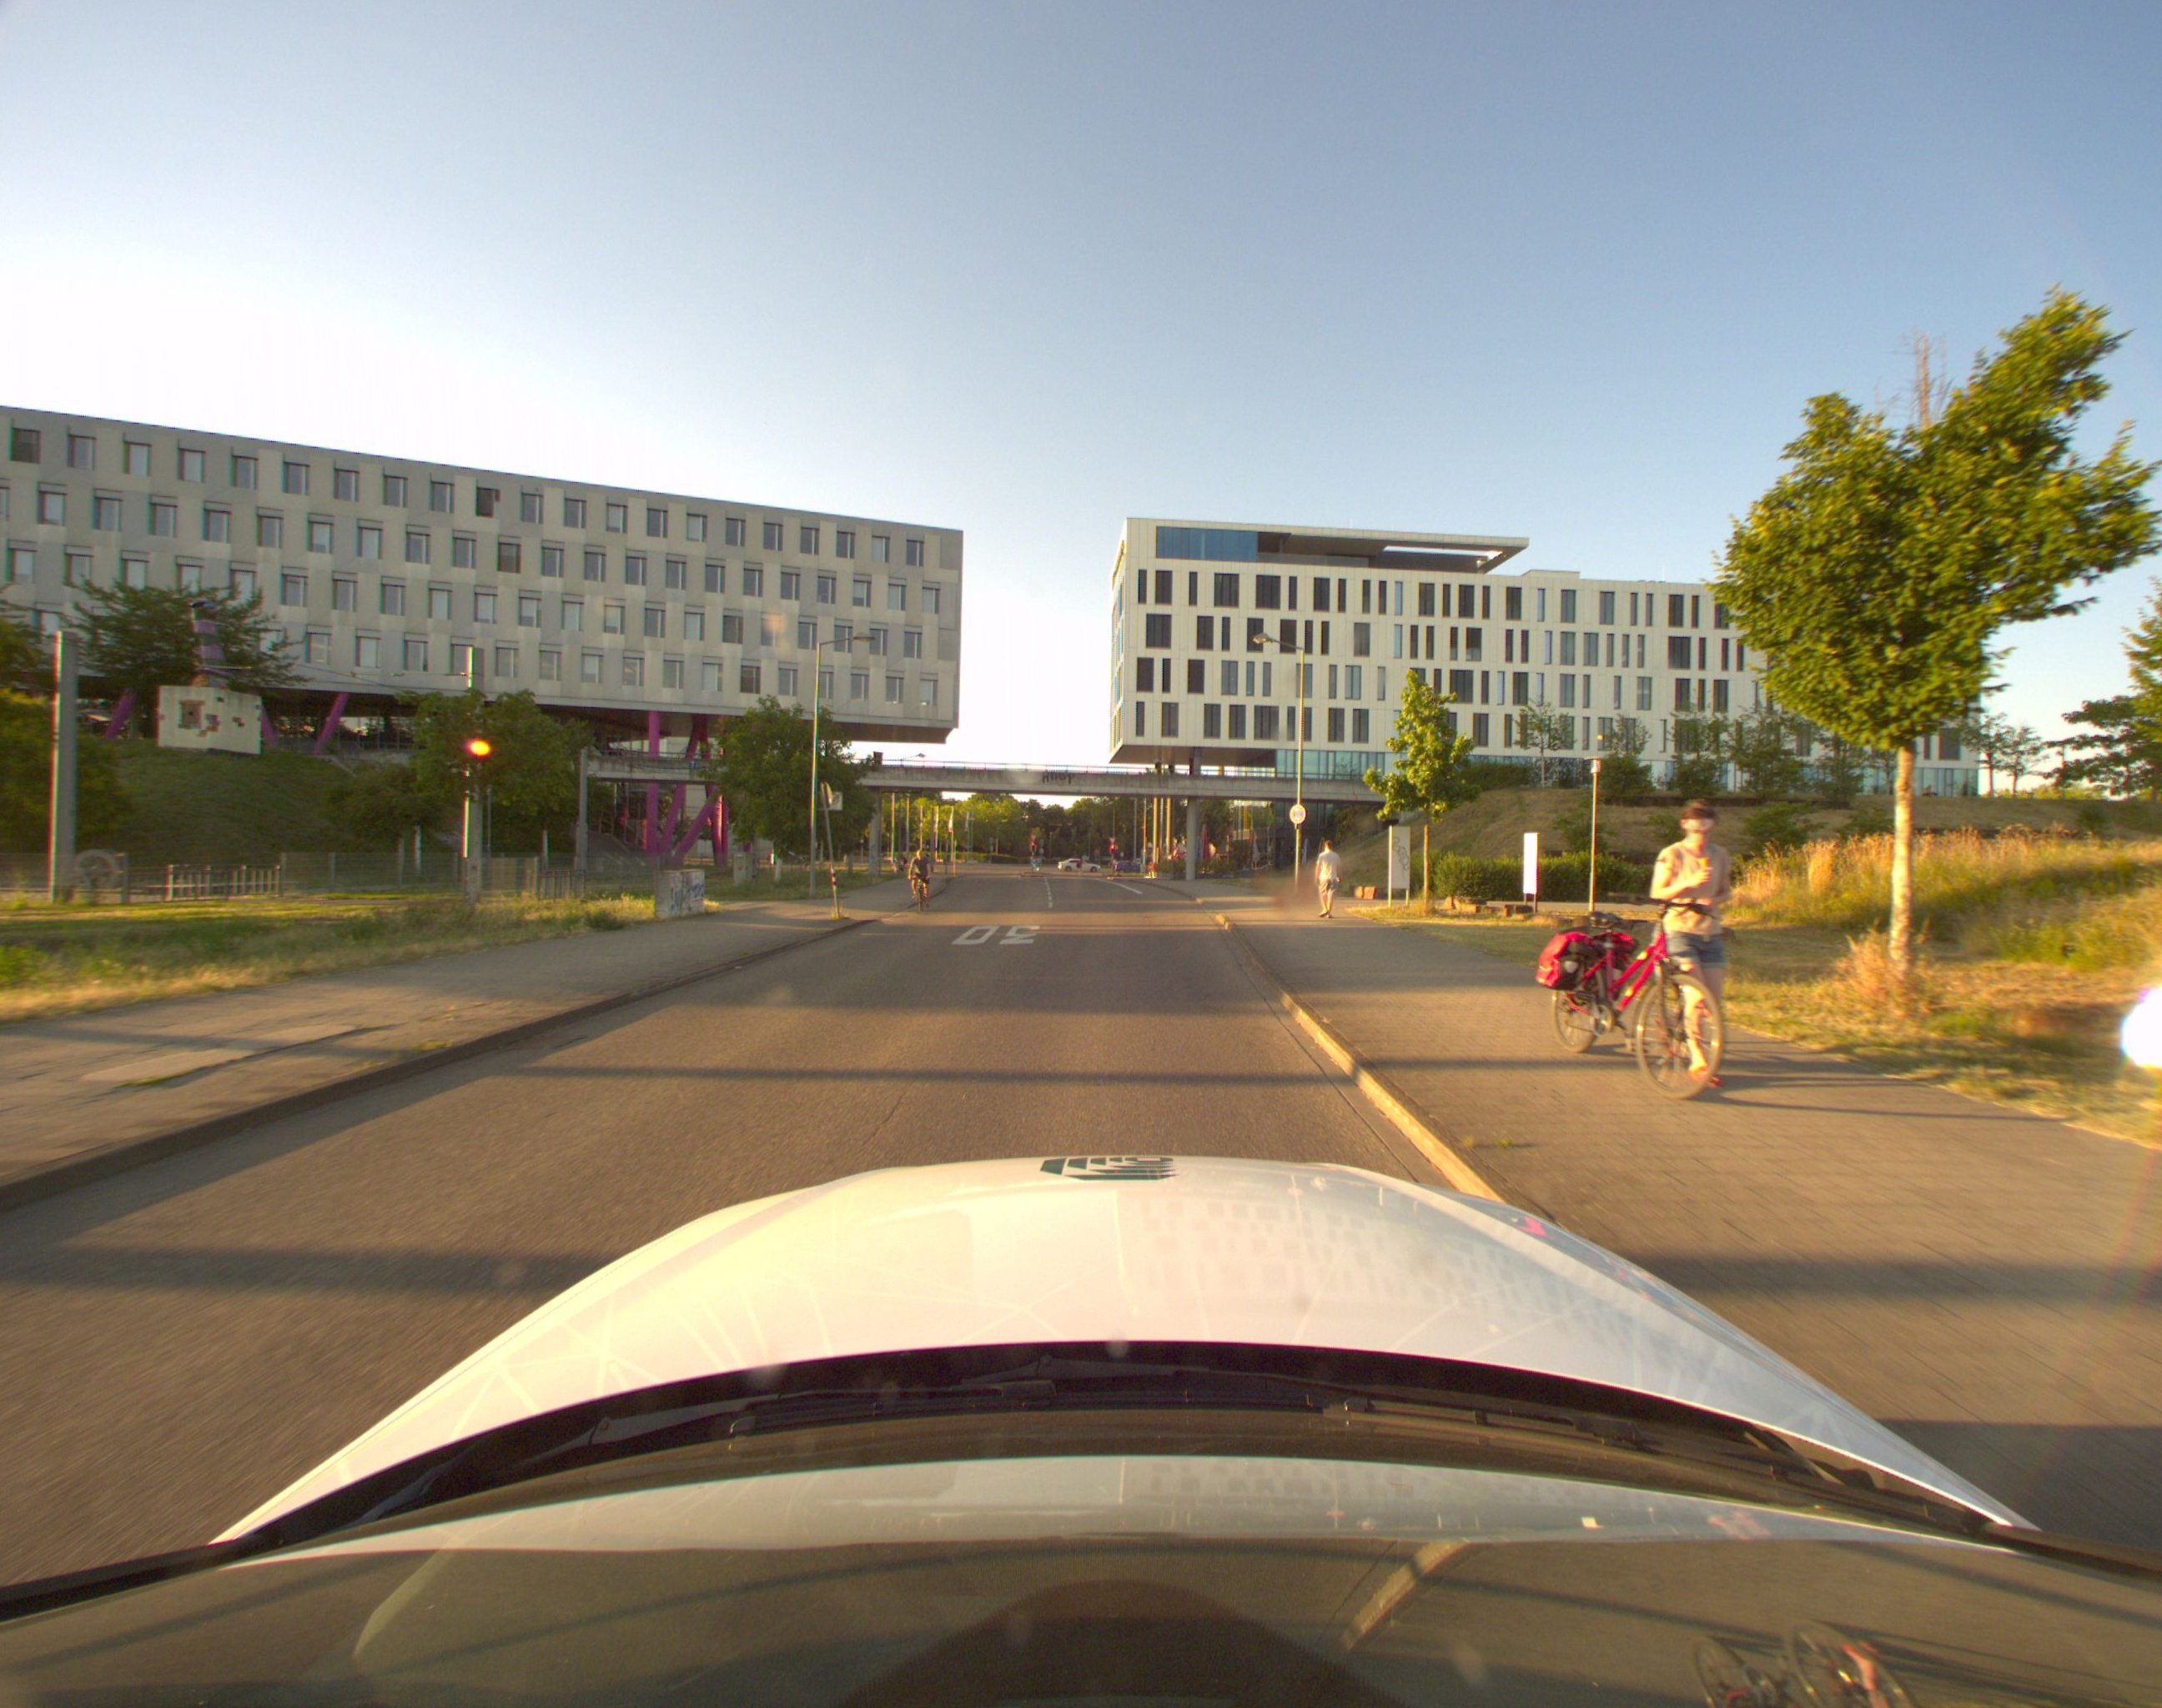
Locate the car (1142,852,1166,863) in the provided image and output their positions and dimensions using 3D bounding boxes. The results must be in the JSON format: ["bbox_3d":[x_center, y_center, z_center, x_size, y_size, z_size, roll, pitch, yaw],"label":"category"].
[{"bbox_3d":[13.827,0.660,155.150,4.448,1.816,1.947,1,1,3],"label":"car"}]

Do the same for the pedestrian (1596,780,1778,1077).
[{"bbox_3d":[3.957,0.446,5.384,0.592,1.801,0.819,1,1,5],"label":"pedestrian"}]

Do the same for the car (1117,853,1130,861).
[{"bbox_3d":[8.744,0.586,165.627,1.484,1.606,3.422,1,1,24],"label":"car"}]

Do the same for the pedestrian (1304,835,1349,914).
[{"bbox_3d":[5.669,0.459,18.846,0.827,1.766,0.819,1,1,5],"label":"pedestrian"}]

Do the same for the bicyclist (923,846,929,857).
[{"bbox_3d":[-24.728,-0.387,129.761,0.761,1.723,0.547,1,1,-28],"label":"bicyclist"}]

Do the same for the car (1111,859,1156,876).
[{"bbox_3d":[5.960,1.501,92.720,4.716,1.828,1.885,1,1,-12],"label":"car"}]

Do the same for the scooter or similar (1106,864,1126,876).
[{"bbox_3d":[3.456,1.630,81.257,1.860,1.174,0.761,1,1,-11],"label":"scooter or similar"}]

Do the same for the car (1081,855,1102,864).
[{"bbox_3d":[2.352,1.342,188.327,4.663,1.869,2.015,1,1,4],"label":"car"}]

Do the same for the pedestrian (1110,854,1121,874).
[{"bbox_3d":[3.448,0.976,81.235,0.909,1.990,0.769,1,1,-11],"label":"pedestrian"}]

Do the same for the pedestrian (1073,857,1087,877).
[{"bbox_3d":[-0.083,1.224,78.041,1.056,1.834,0.890,1,1,-16],"label":"pedestrian"}]

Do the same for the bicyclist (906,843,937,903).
[{"bbox_3d":[-4.557,0.515,23.297,0.612,1.662,1.037,1,1,3],"label":"bicyclist"}]

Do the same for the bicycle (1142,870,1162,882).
[{"bbox_3d":[7.029,2.196,80.888,1.963,1.092,0.622,1,1,1],"label":"bicycle"}]

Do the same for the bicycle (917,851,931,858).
[{"bbox_3d":[-24.984,0.119,129.647,1.973,1.128,0.555,0,1,-28],"label":"bicycle"}]

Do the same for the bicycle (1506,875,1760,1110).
[{"bbox_3d":[3.469,0.767,5.345,0.448,1.168,1.943,1,1,4],"label":"bicycle"}]

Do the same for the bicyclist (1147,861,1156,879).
[{"bbox_3d":[6.972,1.608,80.883,0.857,1.731,0.606,1,1,2],"label":"bicyclist"}]

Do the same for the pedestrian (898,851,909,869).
[{"bbox_3d":[-16.900,0.585,77.578,0.695,1.664,0.715,1,1,15],"label":"pedestrian"}]

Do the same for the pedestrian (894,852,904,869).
[{"bbox_3d":[-17.139,0.600,76.788,0.681,1.624,0.715,1,1,15],"label":"pedestrian"}]

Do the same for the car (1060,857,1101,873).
[{"bbox_3d":[-0.041,1.287,95.167,4.674,1.828,1.834,1,1,-2],"label":"car"}]

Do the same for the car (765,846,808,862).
[{"bbox_3d":[-35.128,0.014,97.175,4.458,1.816,1.943,1,1,-4],"label":"car"}]

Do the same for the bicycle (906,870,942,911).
[{"bbox_3d":[-4.470,1.018,23.282,0.536,1.043,1.926,1,1,3],"label":"bicycle"}]
